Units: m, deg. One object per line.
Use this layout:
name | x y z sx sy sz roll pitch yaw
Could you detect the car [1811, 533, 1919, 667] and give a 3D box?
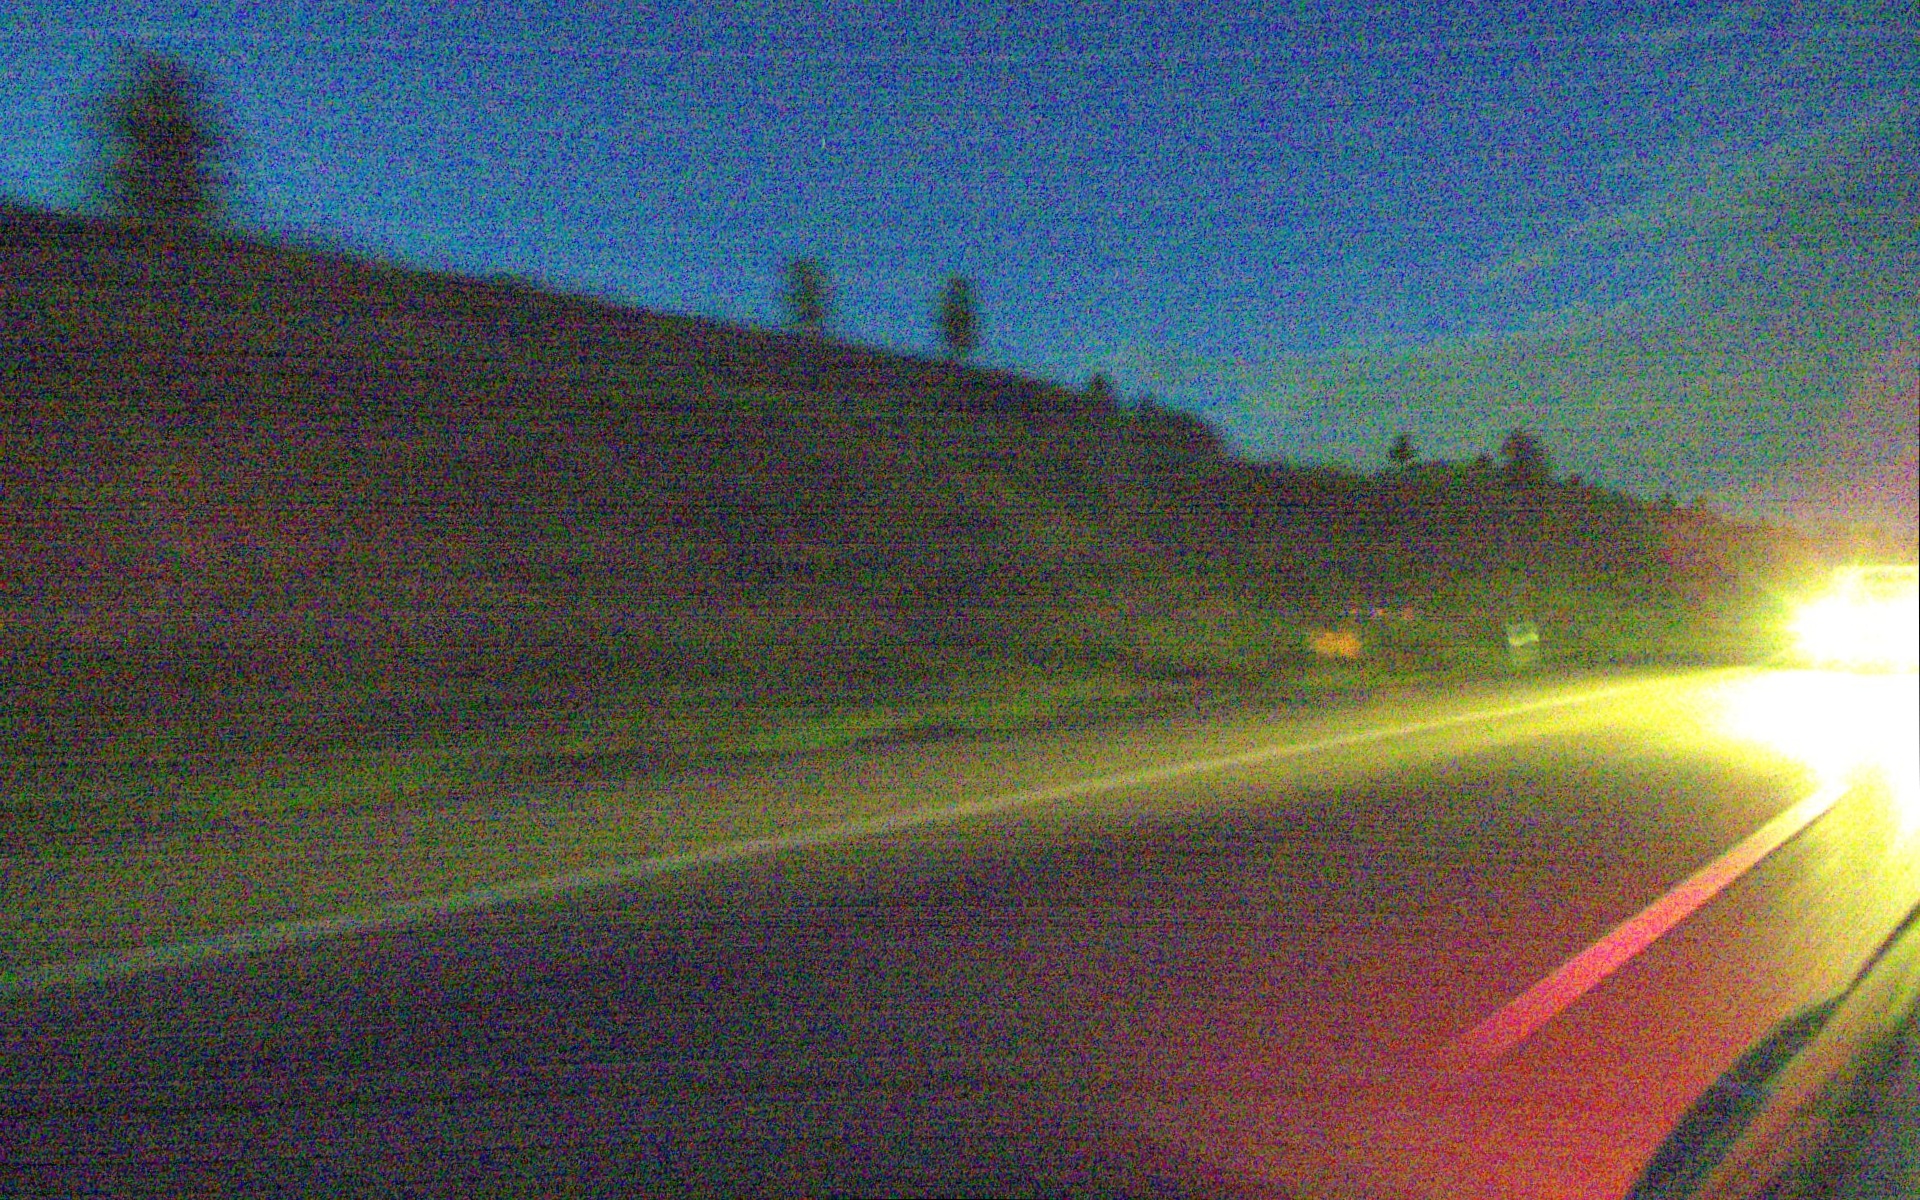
car | 20.944 0.008 22.557 5.622 2.680 2.037 0 0 -39
